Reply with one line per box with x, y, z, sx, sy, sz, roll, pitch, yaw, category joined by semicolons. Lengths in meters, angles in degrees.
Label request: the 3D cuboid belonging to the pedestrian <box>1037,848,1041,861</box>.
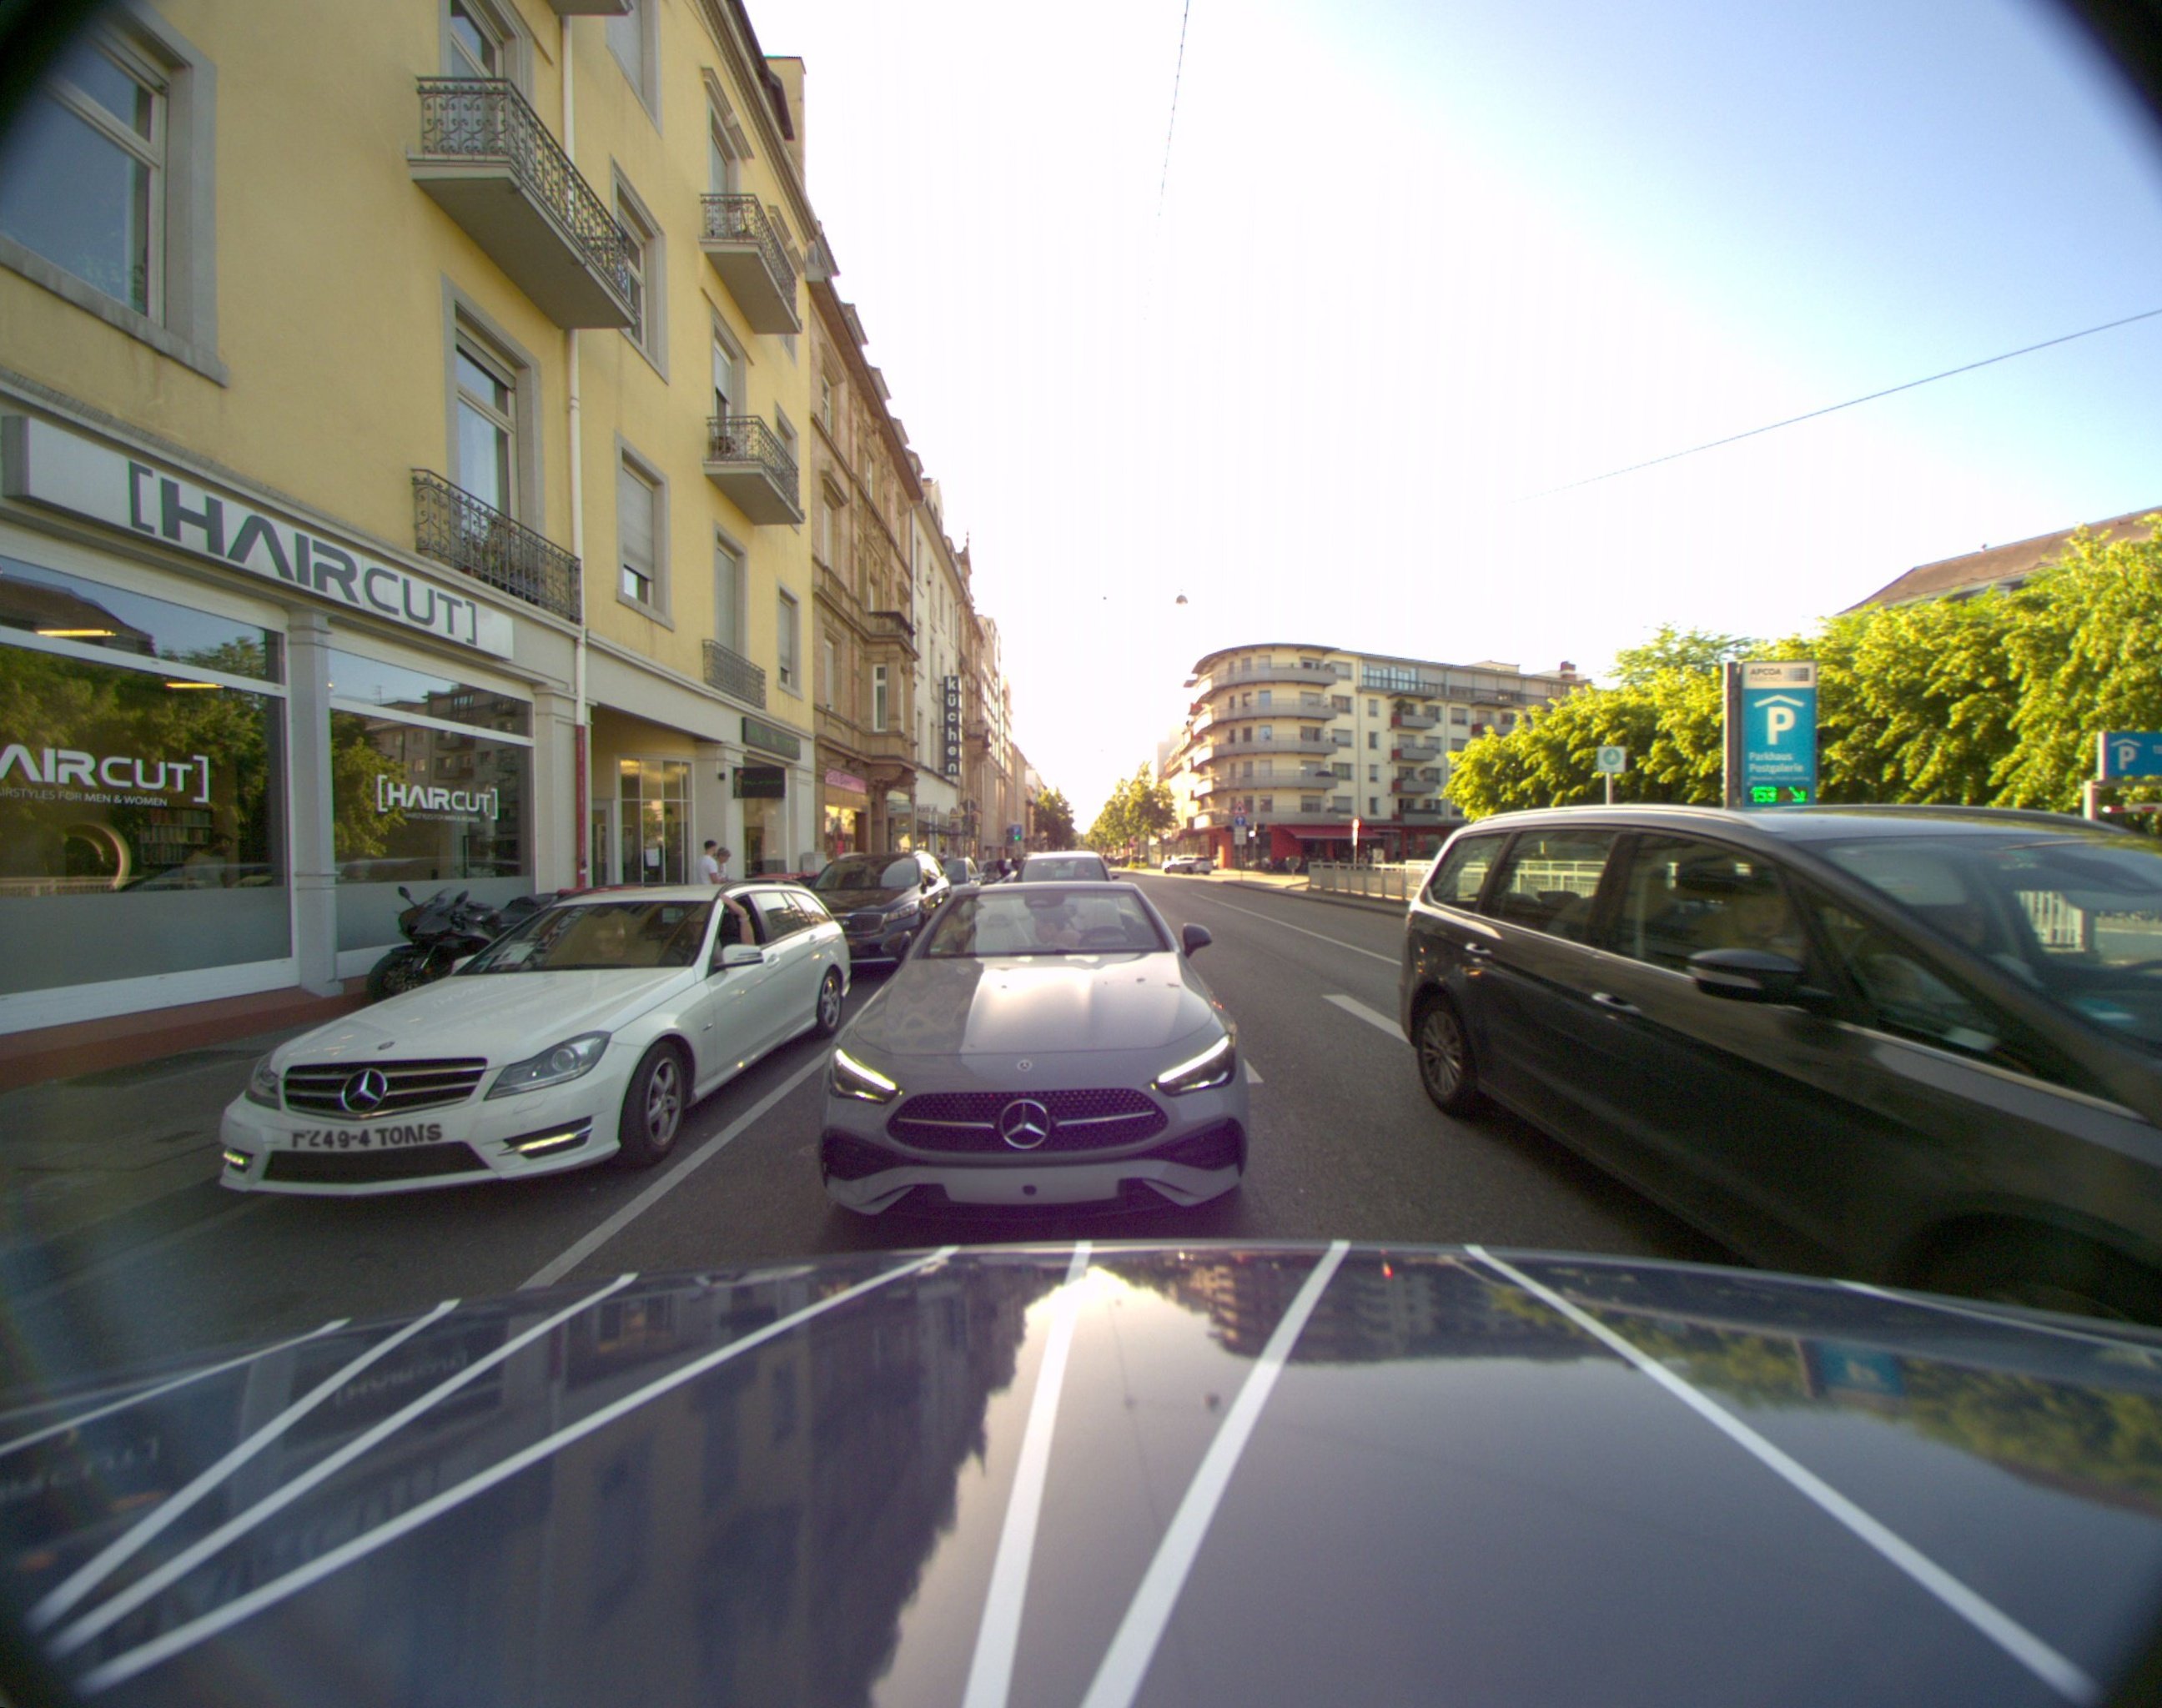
-5.950;0.088;108.529;0.527;1.875;0.569;-1;1;0;pedestrian

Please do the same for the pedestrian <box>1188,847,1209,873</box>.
9.208;0.473;59.347;1.202;2.002;1.018;-3;1;-37;pedestrian

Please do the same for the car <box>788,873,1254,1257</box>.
-0.260;0.913;5.218;1.849;1.371;4.255;-2;0;-1;car

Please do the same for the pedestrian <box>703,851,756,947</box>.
-6.085;0.757;13.179;0.572;1.607;0.643;-1;1;2;pedestrian

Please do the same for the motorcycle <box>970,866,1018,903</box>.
-3.057;1.050;26.771;0.769;1.225;1.546;-1;1;42;motorcycle

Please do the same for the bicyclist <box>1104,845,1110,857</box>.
3.570;-0.436;103.801;0.757;1.651;1.144;-2;1;5;bicyclist

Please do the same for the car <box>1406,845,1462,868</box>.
29.032;0.179;62.437;4.004;1.740;1.996;-2;1;-23;car

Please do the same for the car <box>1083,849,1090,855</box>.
1.708;-0.484;234.116;1.998;1.805;4.000;-1;0;2;car

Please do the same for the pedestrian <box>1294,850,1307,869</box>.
17.688;0.444;61.139;0.583;1.453;0.790;-2;1;-37;pedestrian

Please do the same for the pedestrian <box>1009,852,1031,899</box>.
-2.204;0.768;27.379;0.693;1.657;0.834;-1;1;-7;pedestrian

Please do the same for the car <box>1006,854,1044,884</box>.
-2.983;0.767;40.982;1.715;1.477;3.999;-1;0;0;car

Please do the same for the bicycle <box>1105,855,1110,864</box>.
3.605;0.748;103.973;0.661;1.083;1.971;-2;0;4;bicycle

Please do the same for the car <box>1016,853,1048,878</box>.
-3.025;0.695;47.577;1.715;1.477;4.062;-1;0;0;car

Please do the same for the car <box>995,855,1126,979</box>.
-0.250;0.851;12.161;1.716;1.599;4.000;-1;0;1;car

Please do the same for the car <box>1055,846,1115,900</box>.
0.157;0.622;27.257;1.952;1.742;4.000;-1;0;1;car

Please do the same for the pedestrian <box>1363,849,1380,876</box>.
19.940;0.567;52.191;0.755;1.795;0.756;-2;1;-15;pedestrian

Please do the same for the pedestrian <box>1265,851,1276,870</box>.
15.051;0.505;60.256;0.791;1.452;0.583;-1;1;10;pedestrian

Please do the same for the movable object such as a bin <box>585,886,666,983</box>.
-6.057;1.055;10.123;0.647;1.200;0.644;-1;1;1;movable object such as a bin

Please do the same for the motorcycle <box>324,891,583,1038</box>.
-6.260;1.024;7.810;0.773;1.158;2.247;1;0;1;motorcycle

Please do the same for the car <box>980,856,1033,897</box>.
-2.945;0.875;30.713;1.715;1.477;3.999;-1;0;0;car

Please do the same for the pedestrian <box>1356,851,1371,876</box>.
19.369;0.626;52.059;0.674;1.696;0.699;-2;1;-7;pedestrian

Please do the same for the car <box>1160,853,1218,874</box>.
7.824;0.715;55.449;1.806;1.426;4.240;-2;0;-34;car

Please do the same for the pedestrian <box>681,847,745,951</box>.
-5.845;0.696;12.103;0.642;1.607;0.701;-1;1;-1;pedestrian

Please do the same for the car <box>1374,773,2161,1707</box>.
2.935;0.721;2.618;1.999;1.761;4.727;-1;0;0;car

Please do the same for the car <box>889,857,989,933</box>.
-3.247;0.892;17.867;1.696;1.559;3.018;-1;0;1;car

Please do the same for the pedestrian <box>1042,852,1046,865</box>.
-5.259;0.616;108.407;0.466;1.769;0.569;-1;1;-1;pedestrian

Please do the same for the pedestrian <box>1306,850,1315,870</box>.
17.949;0.466;59.484;0.581;1.481;0.793;-1;1;13;pedestrian

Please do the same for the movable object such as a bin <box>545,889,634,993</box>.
-6.107;1.064;9.472;0.647;1.200;0.644;-1;1;1;movable object such as a bin

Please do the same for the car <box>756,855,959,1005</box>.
-3.002;0.894;11.305;1.858;1.688;4.697;-1;0;-4;car

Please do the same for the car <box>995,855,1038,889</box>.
-3.051;0.816;36.465;1.715;1.477;3.999;-1;0;0;car

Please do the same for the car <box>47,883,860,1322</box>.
-3.074;1.045;5.227;1.759;1.453;4.597;-1;0;0;car

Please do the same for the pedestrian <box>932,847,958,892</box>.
-4.974;0.558;27.890;0.795;1.607;0.763;-1;1;-1;pedestrian
